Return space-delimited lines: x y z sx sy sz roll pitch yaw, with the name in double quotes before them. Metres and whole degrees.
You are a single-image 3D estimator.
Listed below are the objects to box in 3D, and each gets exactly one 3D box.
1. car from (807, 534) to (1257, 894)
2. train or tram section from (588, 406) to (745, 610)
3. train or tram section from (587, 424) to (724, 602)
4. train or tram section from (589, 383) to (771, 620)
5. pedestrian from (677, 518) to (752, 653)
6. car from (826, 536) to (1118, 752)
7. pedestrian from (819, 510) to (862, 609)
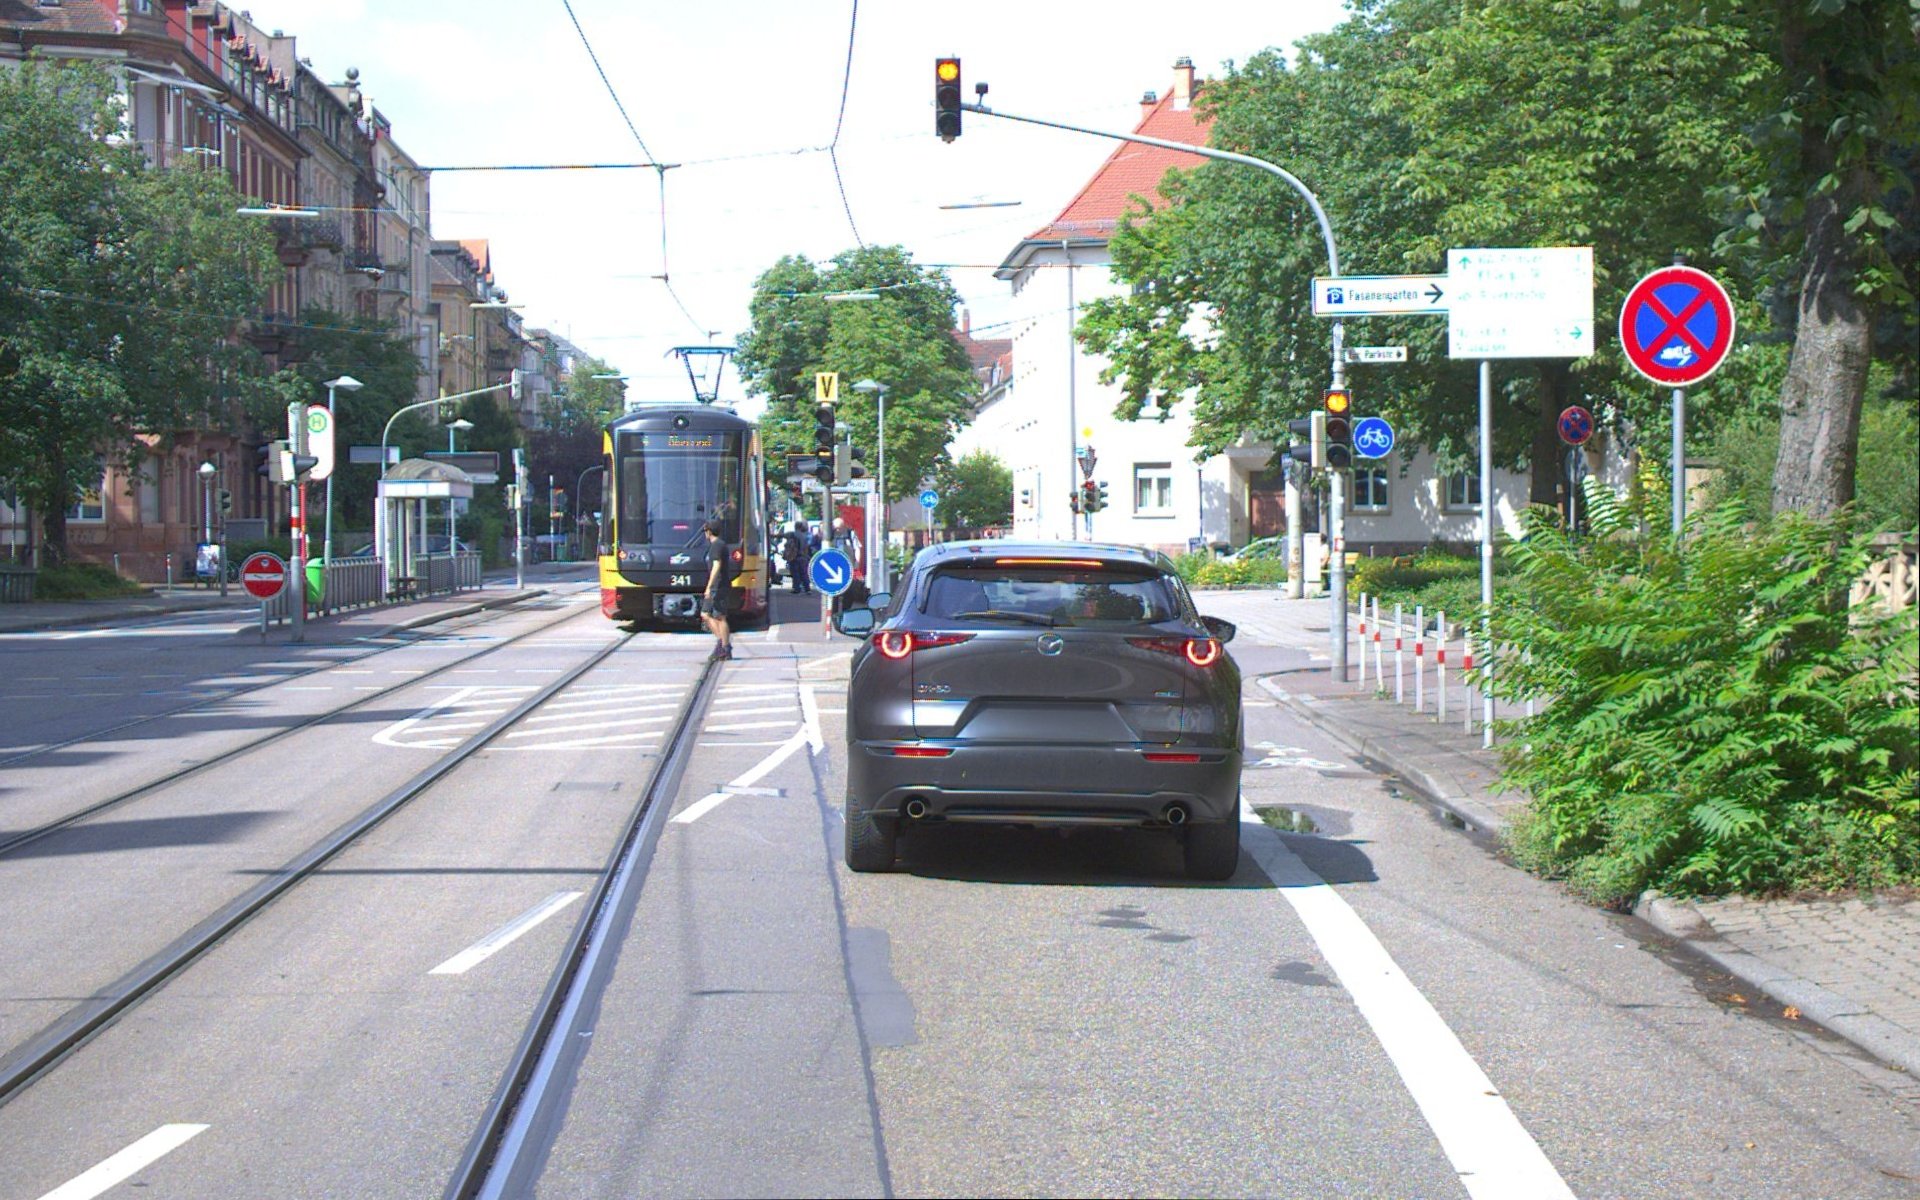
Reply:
"car" 0.217 0.452 16.937 1.789 1.507 4.351 1 1 -4
"train or tram section" -5.593 -1.679 64.410 2.651 3.515 8.498 -1 1 -6
"train or tram section" -6.527 -1.801 72.863 2.651 3.515 8.498 -1 1 -6
"train or tram section" -4.663 -1.548 55.941 2.651 3.515 8.498 -1 1 -6
"pedestrian" -2.935 -0.176 41.003 0.874 1.599 0.632 0 1 -5
"car" -0.006 0.264 26.979 1.784 1.487 4.884 -1 2 -6
"pedestrian" -1.942 -0.657 55.895 0.667 1.599 0.700 0 1 -5
